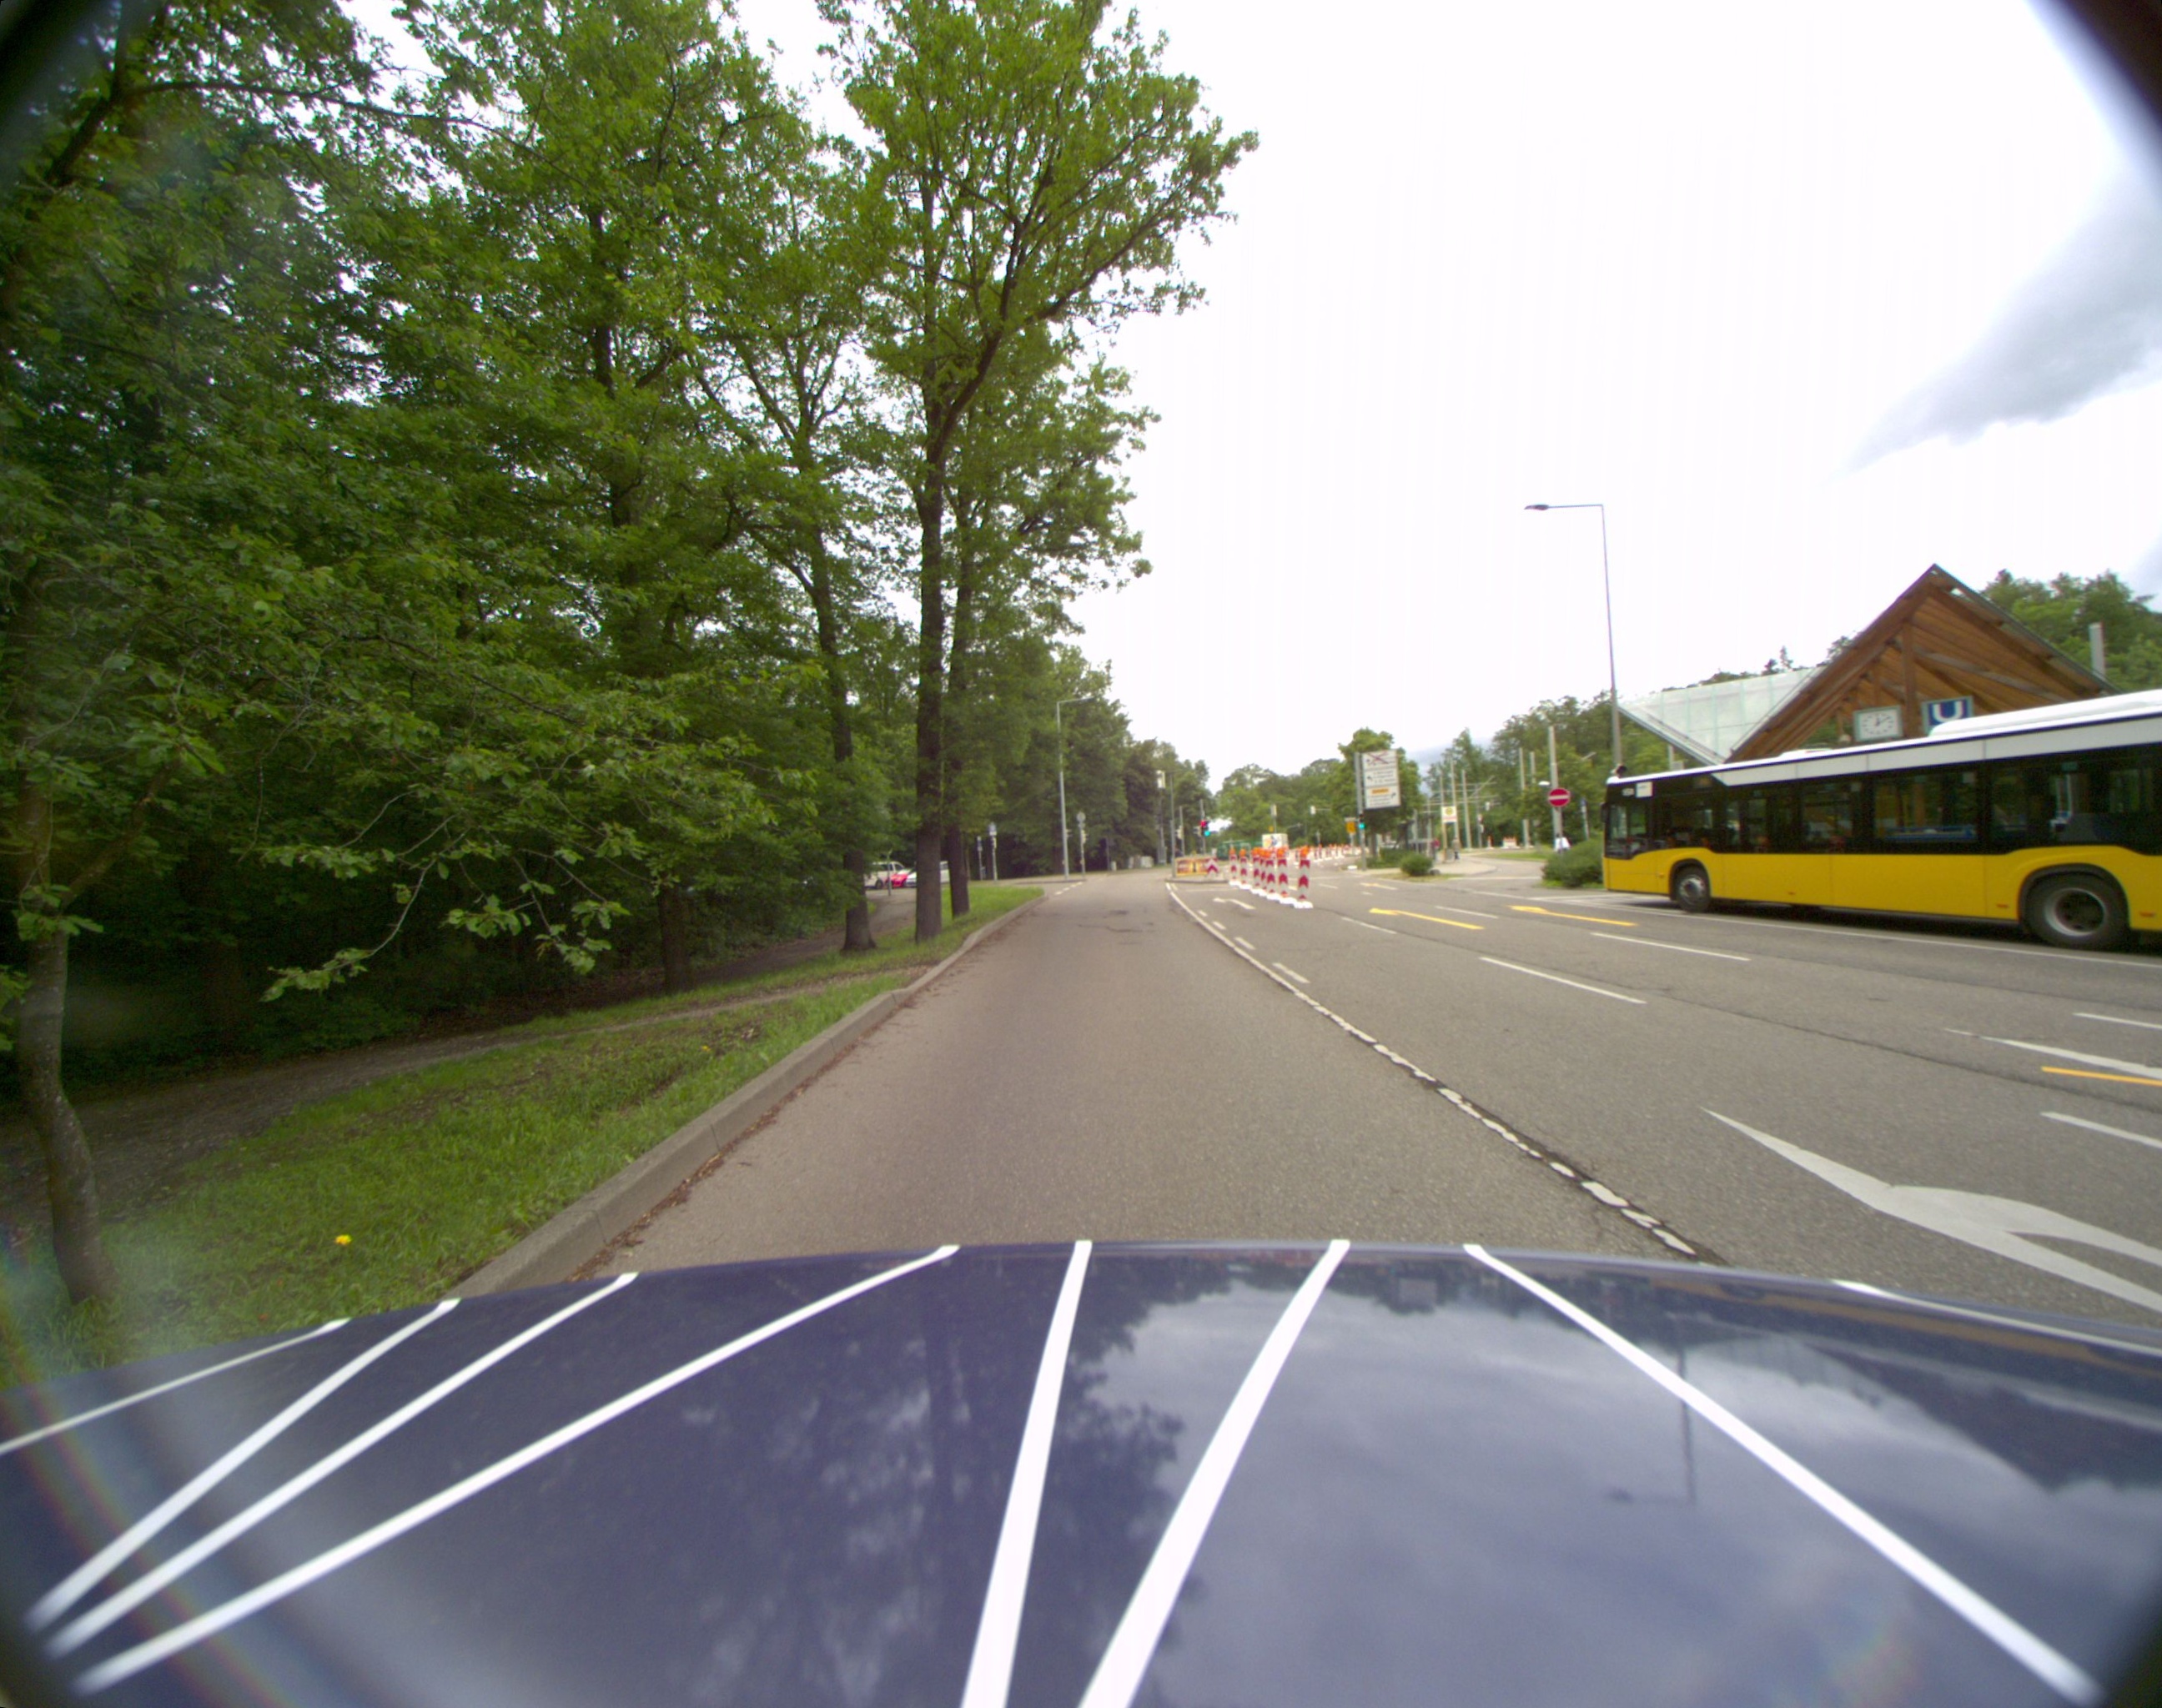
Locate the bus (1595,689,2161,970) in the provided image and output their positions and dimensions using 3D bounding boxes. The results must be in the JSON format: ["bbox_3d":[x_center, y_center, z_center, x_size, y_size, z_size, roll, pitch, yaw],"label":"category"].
[{"bbox_3d":[13.486,-0.346,12.942,2.906,3.109,9.759,-2,0,1],"label":"bus"}]

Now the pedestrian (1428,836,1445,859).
[{"bbox_3d":[24.095,-0.436,51.470,0.791,1.542,0.776,-4,0,12],"label":"pedestrian"}]

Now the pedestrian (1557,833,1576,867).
[{"bbox_3d":[22.694,-0.186,35.529,0.637,1.495,0.632,-4,0,29],"label":"pedestrian"}]

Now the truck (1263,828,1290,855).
[{"bbox_3d":[24.971,-1.555,96.924,2.631,3.219,6.215,-1,1,20],"label":"truck"}]

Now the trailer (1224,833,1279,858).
[{"bbox_3d":[31.106,-1.506,139.666,3.791,3.858,11.852,-4,0,-20],"label":"trailer"}]

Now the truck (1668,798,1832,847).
[{"bbox_3d":[36.761,-1.669,42.056,2.609,2.157,6.295,-4,0,-17],"label":"truck"}]

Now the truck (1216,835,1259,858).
[{"bbox_3d":[29.569,-1.350,144.180,3.791,3.858,8.759,-4,0,-20],"label":"truck"}]

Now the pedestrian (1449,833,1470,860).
[{"bbox_3d":[22.672,-0.449,45.548,0.874,1.516,0.769,-4,0,15],"label":"pedestrian"}]

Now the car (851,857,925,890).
[{"bbox_3d":[-14.149,1.381,56.056,2.058,1.946,5.191,-4,1,32],"label":"car"}]

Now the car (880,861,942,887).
[{"bbox_3d":[-12.142,1.403,54.401,1.890,1.543,4.007,-4,0,35],"label":"car"}]

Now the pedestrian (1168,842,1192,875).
[{"bbox_3d":[5.702,0.250,43.650,0.996,1.798,0.765,-4,0,-28],"label":"pedestrian"}]

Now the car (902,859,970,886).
[{"bbox_3d":[-10.062,1.252,53.058,1.995,1.543,4.429,-4,-1,35],"label":"car"}]
